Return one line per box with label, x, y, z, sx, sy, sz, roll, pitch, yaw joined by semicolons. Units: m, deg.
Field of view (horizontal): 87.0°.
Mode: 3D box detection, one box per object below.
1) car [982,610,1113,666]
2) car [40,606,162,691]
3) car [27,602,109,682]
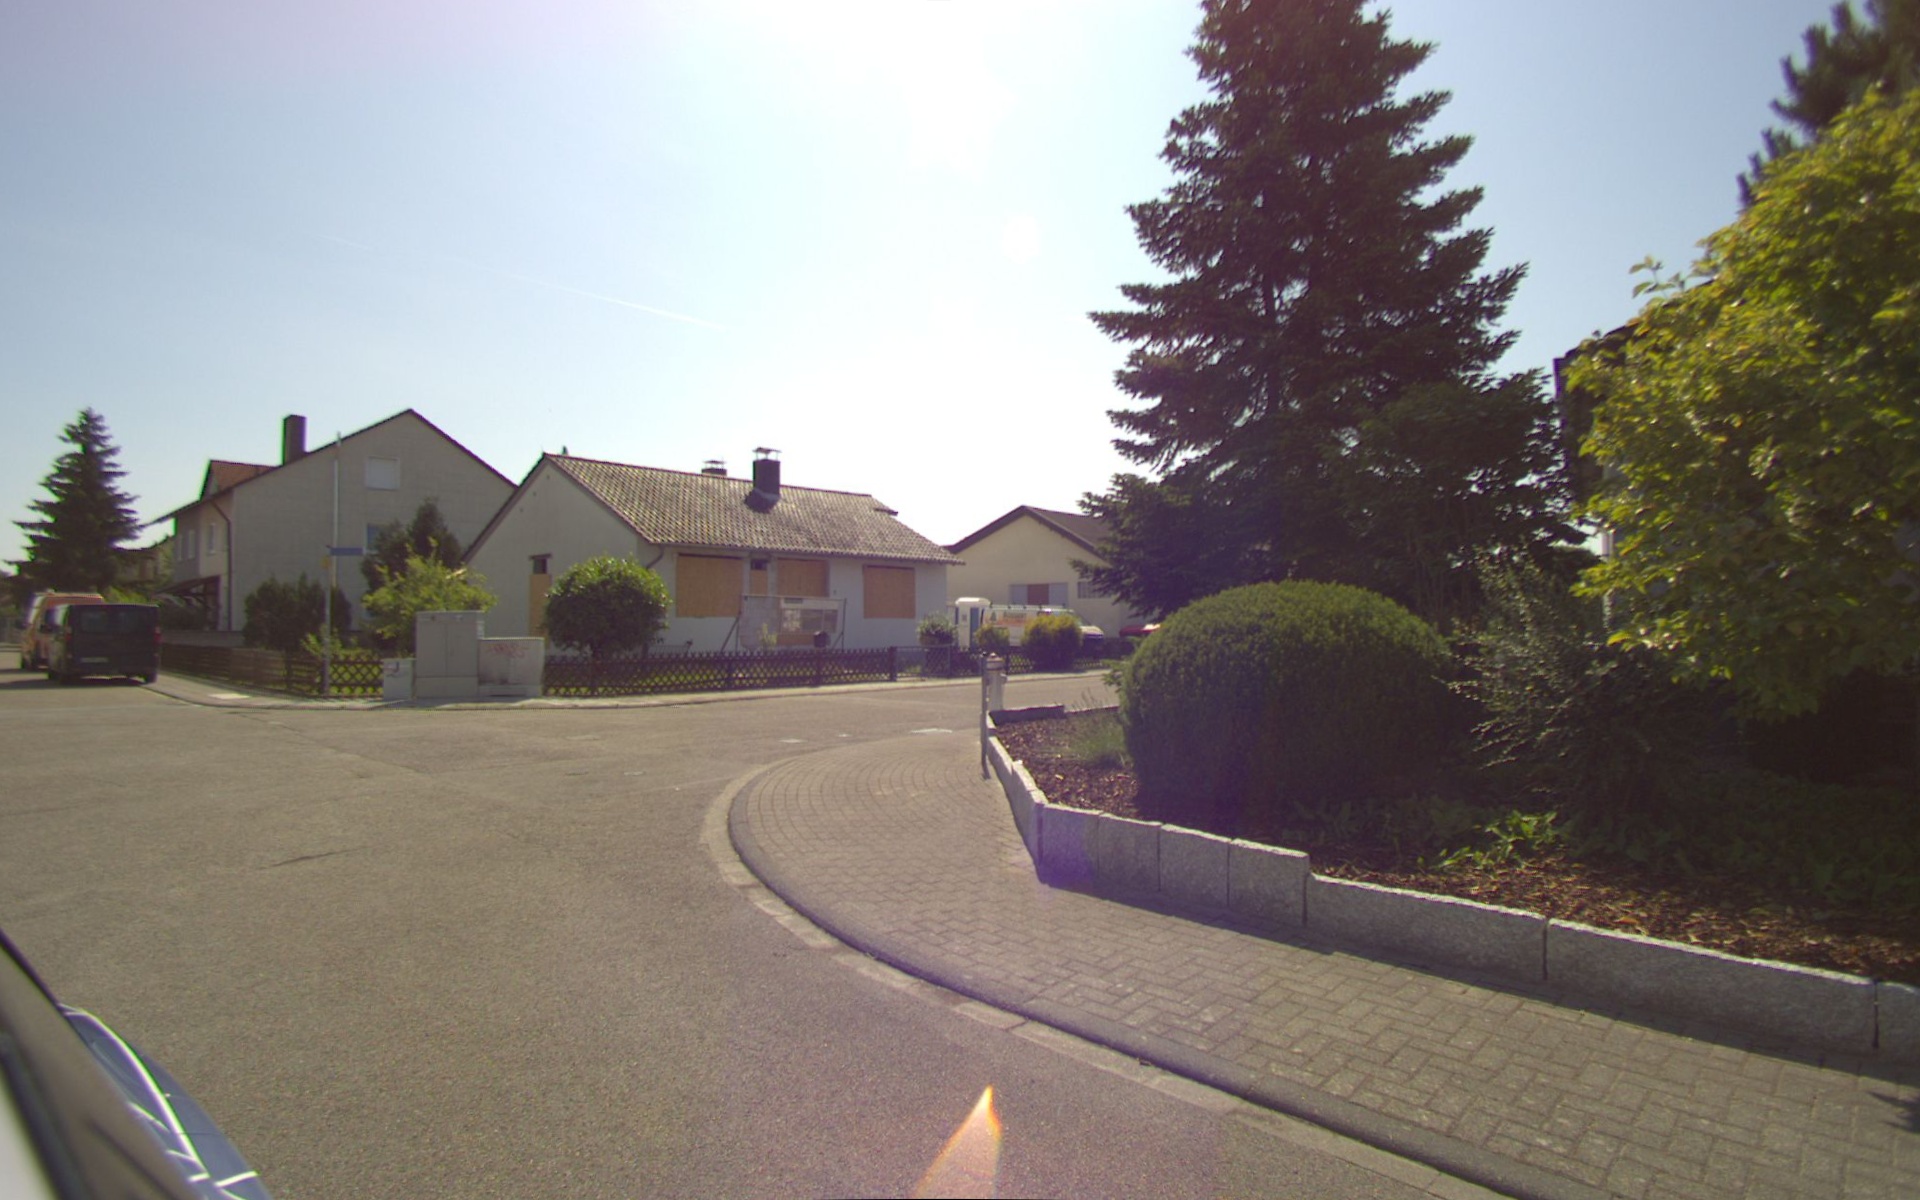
car;3.297;1.441;38.886;5.013;2.029;1.841;-1;-2;44
car;-21.599;1.175;25.395;4.204;1.953;1.844;-2;-2;43
car;-28.208;1.304;31.958;4.204;2.341;1.534;-2;-2;43
